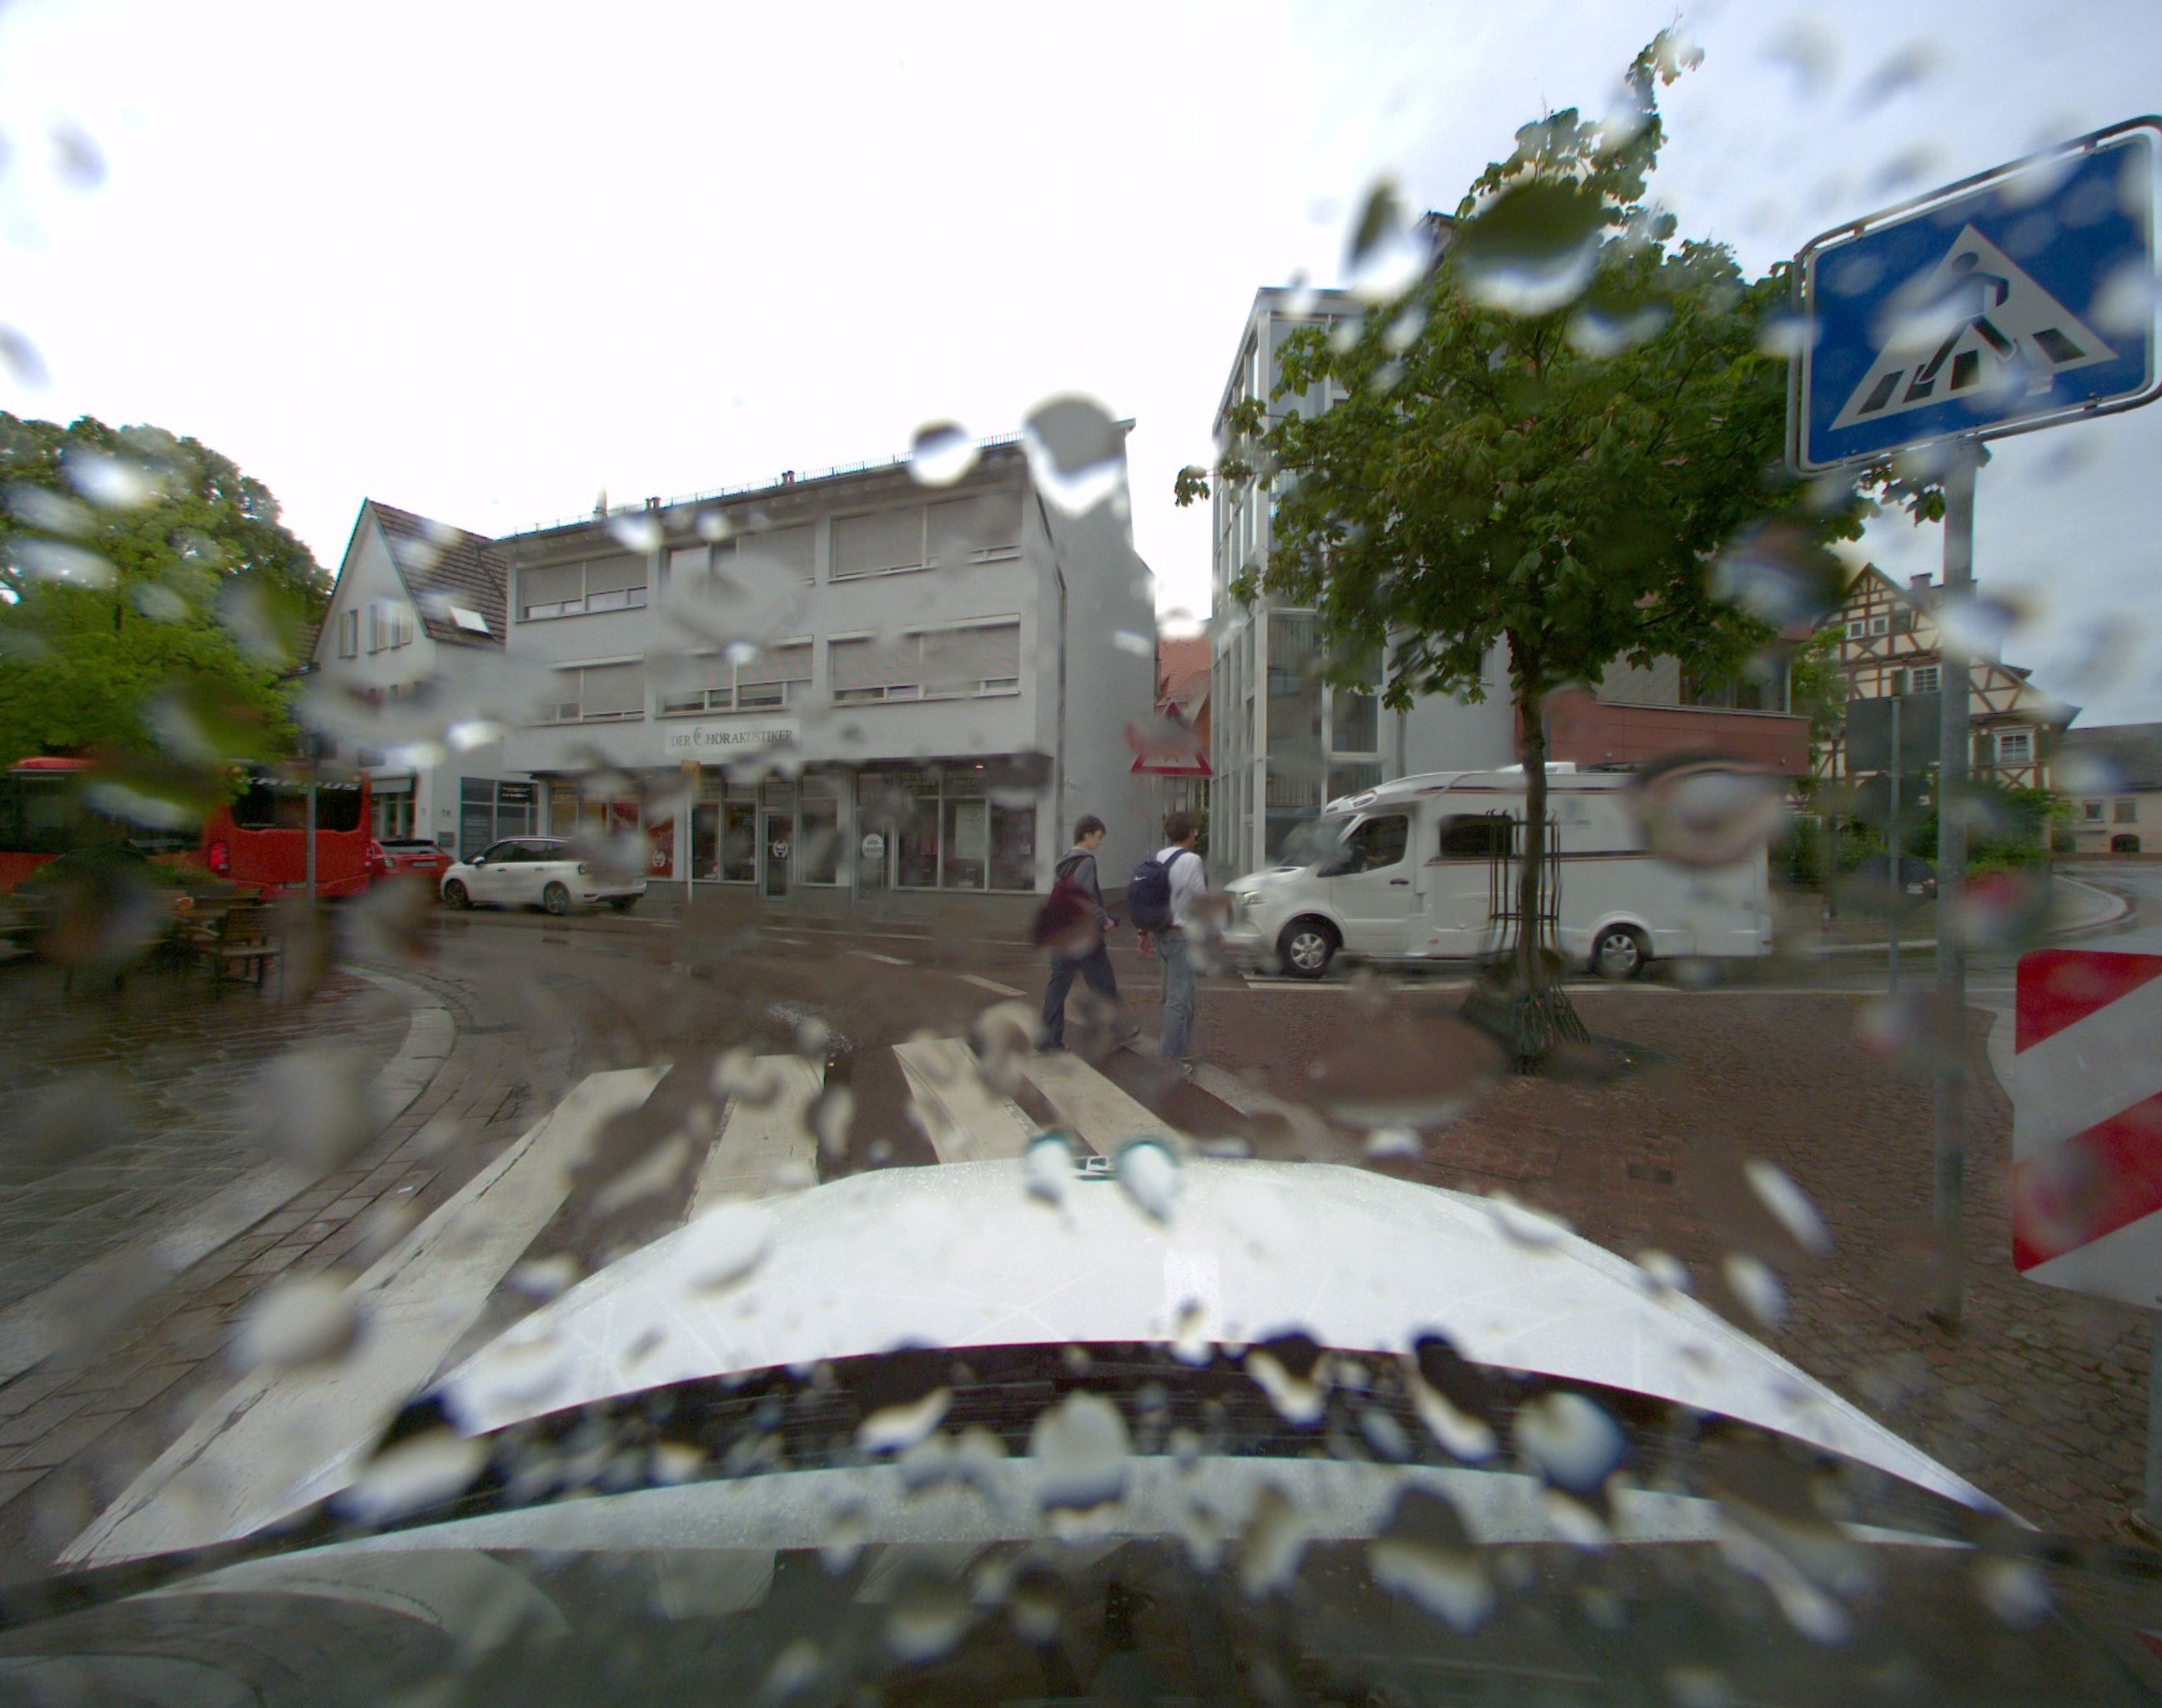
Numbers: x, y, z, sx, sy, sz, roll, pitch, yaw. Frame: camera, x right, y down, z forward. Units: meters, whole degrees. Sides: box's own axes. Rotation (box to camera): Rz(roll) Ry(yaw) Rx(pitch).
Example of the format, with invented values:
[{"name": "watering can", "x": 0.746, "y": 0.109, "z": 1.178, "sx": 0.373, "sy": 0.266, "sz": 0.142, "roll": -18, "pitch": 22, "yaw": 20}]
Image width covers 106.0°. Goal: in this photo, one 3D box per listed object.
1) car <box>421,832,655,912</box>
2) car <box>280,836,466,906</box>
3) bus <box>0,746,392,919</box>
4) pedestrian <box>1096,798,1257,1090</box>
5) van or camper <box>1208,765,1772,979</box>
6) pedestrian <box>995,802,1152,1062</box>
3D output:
[{"name": "car", "x": -11.901, "y": 0.350, "z": 17.916, "sx": 4.421, "sy": 1.630, "sz": 1.789, "roll": 0, "pitch": 1, "yaw": 15}, {"name": "car", "x": -16.981, "y": 0.354, "z": 19.559, "sx": 3.756, "sy": 1.528, "sz": 1.691, "roll": 1, "pitch": 1, "yaw": 18}, {"name": "bus", "x": -20.060, "y": -0.541, "z": 17.317, "sx": 10.493, "sy": 3.088, "sz": 2.834, "roll": 1, "pitch": 2, "yaw": 16}, {"name": "pedestrian", "x": 0.687, "y": 0.561, "z": 5.664, "sx": 0.657, "sy": 1.807, "sz": 1.068, "roll": 0, "pitch": -1, "yaw": 37}, {"name": "van or camper", "x": 5.339, "y": 0.234, "z": 11.422, "sx": 6.708, "sy": 2.585, "sz": 2.445, "roll": 1, "pitch": 0, "yaw": -1}, {"name": "pedestrian", "x": -0.035, "y": 0.543, "z": 6.263, "sx": 0.685, "sy": 1.800, "sz": 1.065, "roll": 0, "pitch": -1, "yaw": 37}]
